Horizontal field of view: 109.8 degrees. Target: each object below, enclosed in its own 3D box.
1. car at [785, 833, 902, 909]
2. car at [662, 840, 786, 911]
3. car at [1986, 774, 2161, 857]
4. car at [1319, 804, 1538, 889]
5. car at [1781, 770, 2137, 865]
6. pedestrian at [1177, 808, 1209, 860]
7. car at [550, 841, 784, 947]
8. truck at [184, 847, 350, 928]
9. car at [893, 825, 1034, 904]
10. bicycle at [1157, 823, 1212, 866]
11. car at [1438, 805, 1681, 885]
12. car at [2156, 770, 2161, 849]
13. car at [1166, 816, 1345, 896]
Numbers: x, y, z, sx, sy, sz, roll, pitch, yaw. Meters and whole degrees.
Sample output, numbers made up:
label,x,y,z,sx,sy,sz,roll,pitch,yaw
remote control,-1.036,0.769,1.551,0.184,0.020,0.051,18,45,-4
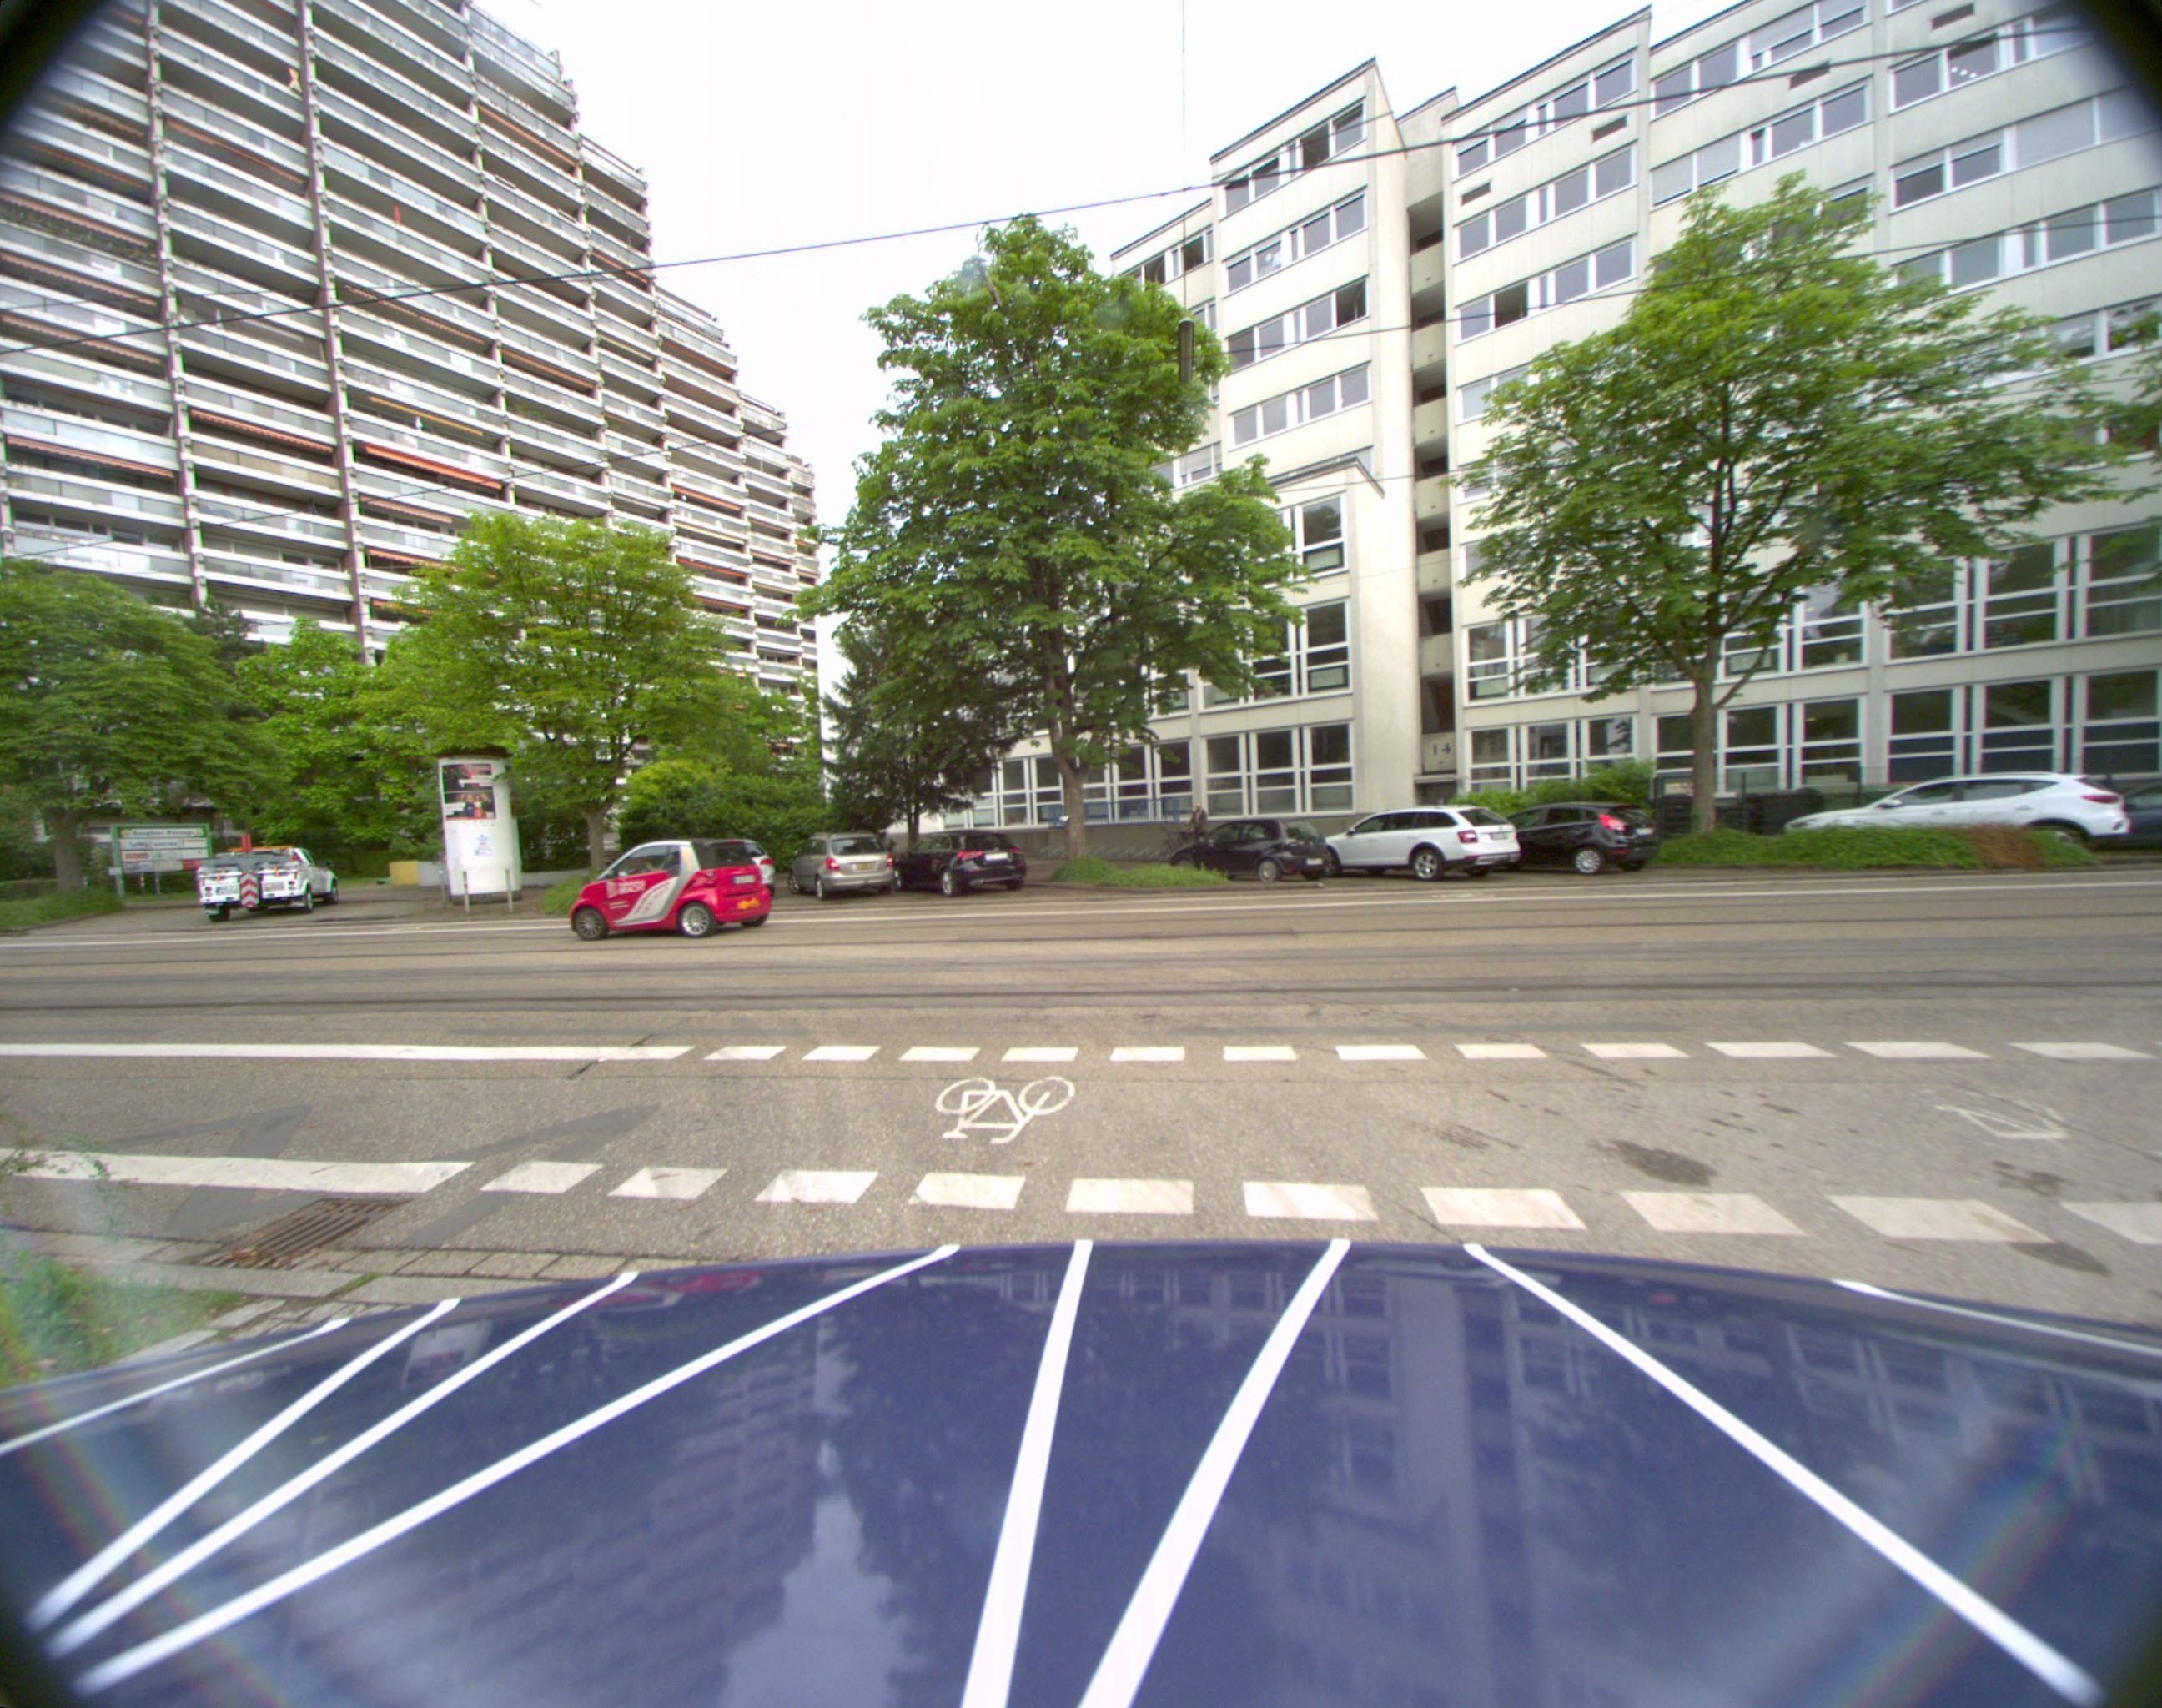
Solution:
label,x,y,z,sx,sy,sz,roll,pitch,yaw
car,-5.742,0.304,18.115,1.575,1.516,3.641,-6,5,-34
car,-9.058,0.434,19.074,1.806,1.457,4.419,-5,4,-37
car,19.994,-0.731,13.854,1.702,1.446,4.334,-6,5,-35
car,7.189,-0.232,16.148,1.702,1.477,4.018,-5,4,-28
car,16.706,-0.703,14.776,1.702,1.548,4.334,-6,5,-39
pedestrian,3.579,-0.641,24.209,0.753,1.603,0.735,1,6,31
car,-6.552,0.597,12.187,2.777,1.514,1.683,-2,2,10
truck,-22.670,0.807,21.438,2.003,1.839,5.050,-5,4,-34
car,-2.797,0.154,17.497,1.702,1.516,3.695,-6,5,-34
bicycle,3.219,-0.295,23.615,1.592,1.261,0.406,-2,3,19
car,9.906,-0.259,16.078,1.702,1.398,4.018,-5,4,-28
car,23.140,-0.881,13.667,1.702,1.527,4.334,-6,5,-35
car,3.800,-0.030,17.039,1.702,1.516,3.695,-6,5,-34
